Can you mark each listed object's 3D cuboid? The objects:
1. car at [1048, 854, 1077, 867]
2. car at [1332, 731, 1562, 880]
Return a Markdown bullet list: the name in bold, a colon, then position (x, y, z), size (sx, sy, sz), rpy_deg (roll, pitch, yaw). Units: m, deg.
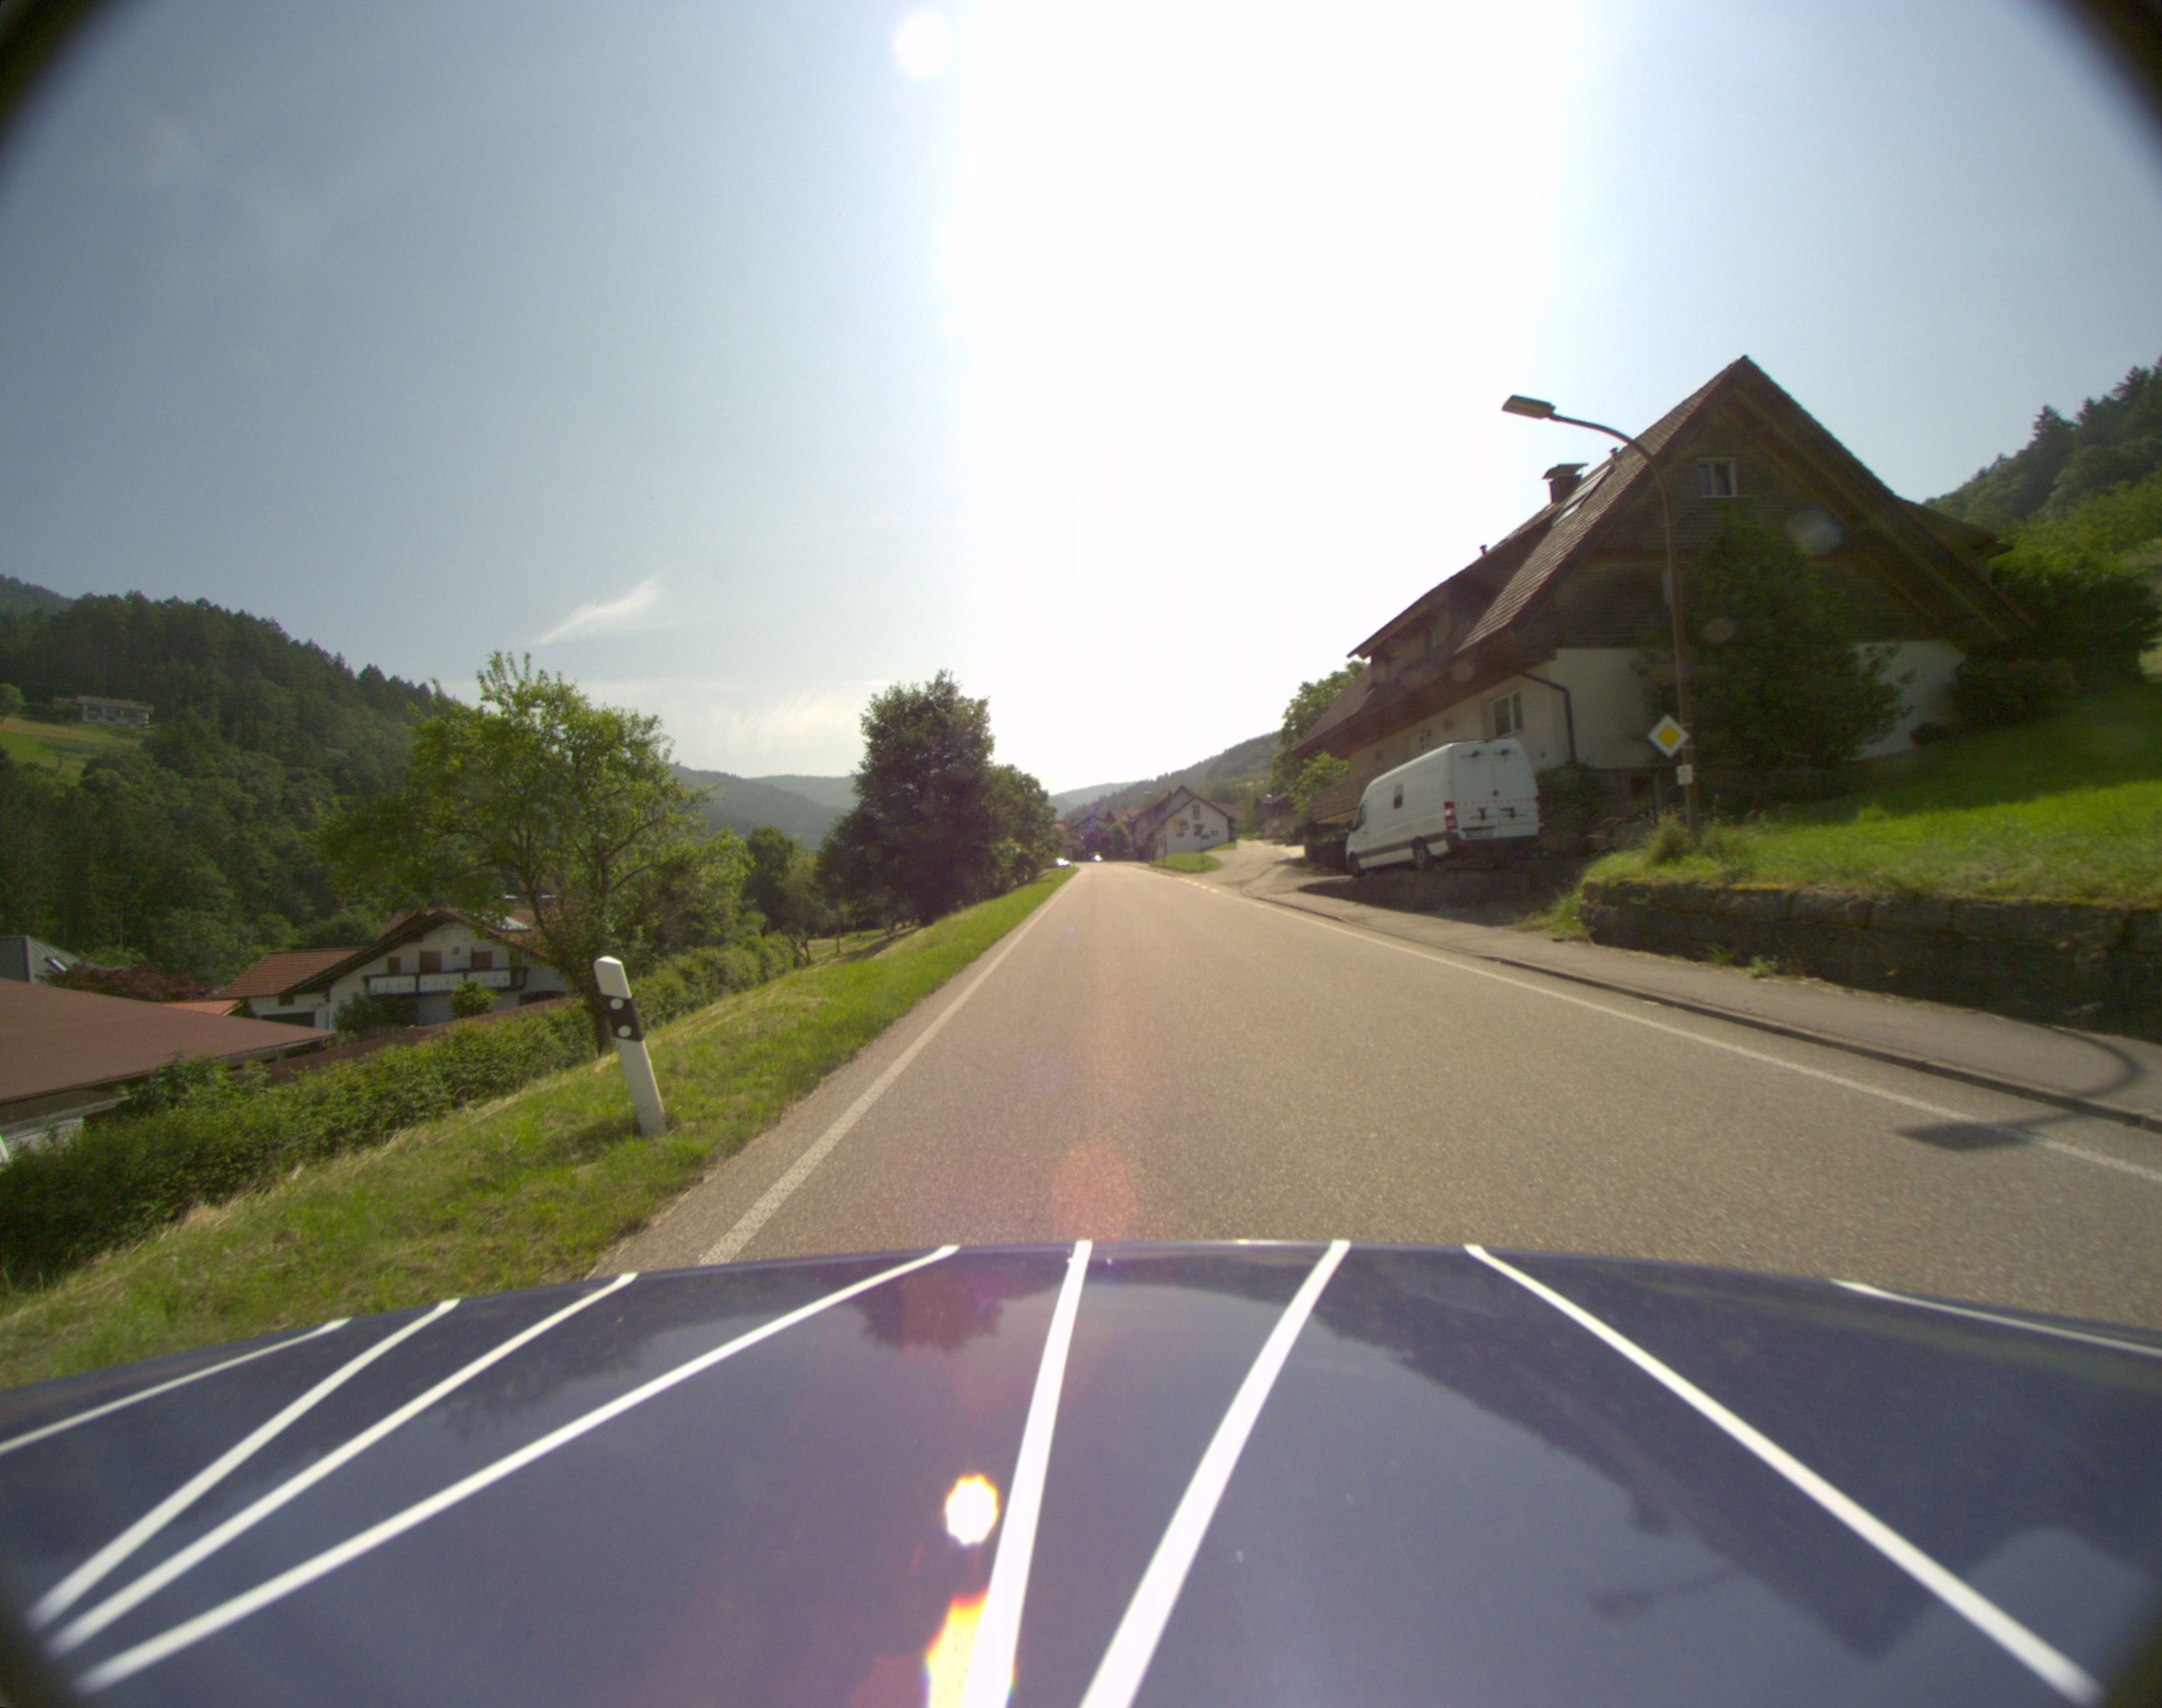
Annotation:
- **car**: position (-2.989, 1.092, 119.762), size (1.908, 1.562, 4.452), rpy_deg (-8, 1, -44)
- **car**: position (8.472, -0.847, 18.738), size (2.072, 2.671, 7.178), rpy_deg (-5, -3, 1)
